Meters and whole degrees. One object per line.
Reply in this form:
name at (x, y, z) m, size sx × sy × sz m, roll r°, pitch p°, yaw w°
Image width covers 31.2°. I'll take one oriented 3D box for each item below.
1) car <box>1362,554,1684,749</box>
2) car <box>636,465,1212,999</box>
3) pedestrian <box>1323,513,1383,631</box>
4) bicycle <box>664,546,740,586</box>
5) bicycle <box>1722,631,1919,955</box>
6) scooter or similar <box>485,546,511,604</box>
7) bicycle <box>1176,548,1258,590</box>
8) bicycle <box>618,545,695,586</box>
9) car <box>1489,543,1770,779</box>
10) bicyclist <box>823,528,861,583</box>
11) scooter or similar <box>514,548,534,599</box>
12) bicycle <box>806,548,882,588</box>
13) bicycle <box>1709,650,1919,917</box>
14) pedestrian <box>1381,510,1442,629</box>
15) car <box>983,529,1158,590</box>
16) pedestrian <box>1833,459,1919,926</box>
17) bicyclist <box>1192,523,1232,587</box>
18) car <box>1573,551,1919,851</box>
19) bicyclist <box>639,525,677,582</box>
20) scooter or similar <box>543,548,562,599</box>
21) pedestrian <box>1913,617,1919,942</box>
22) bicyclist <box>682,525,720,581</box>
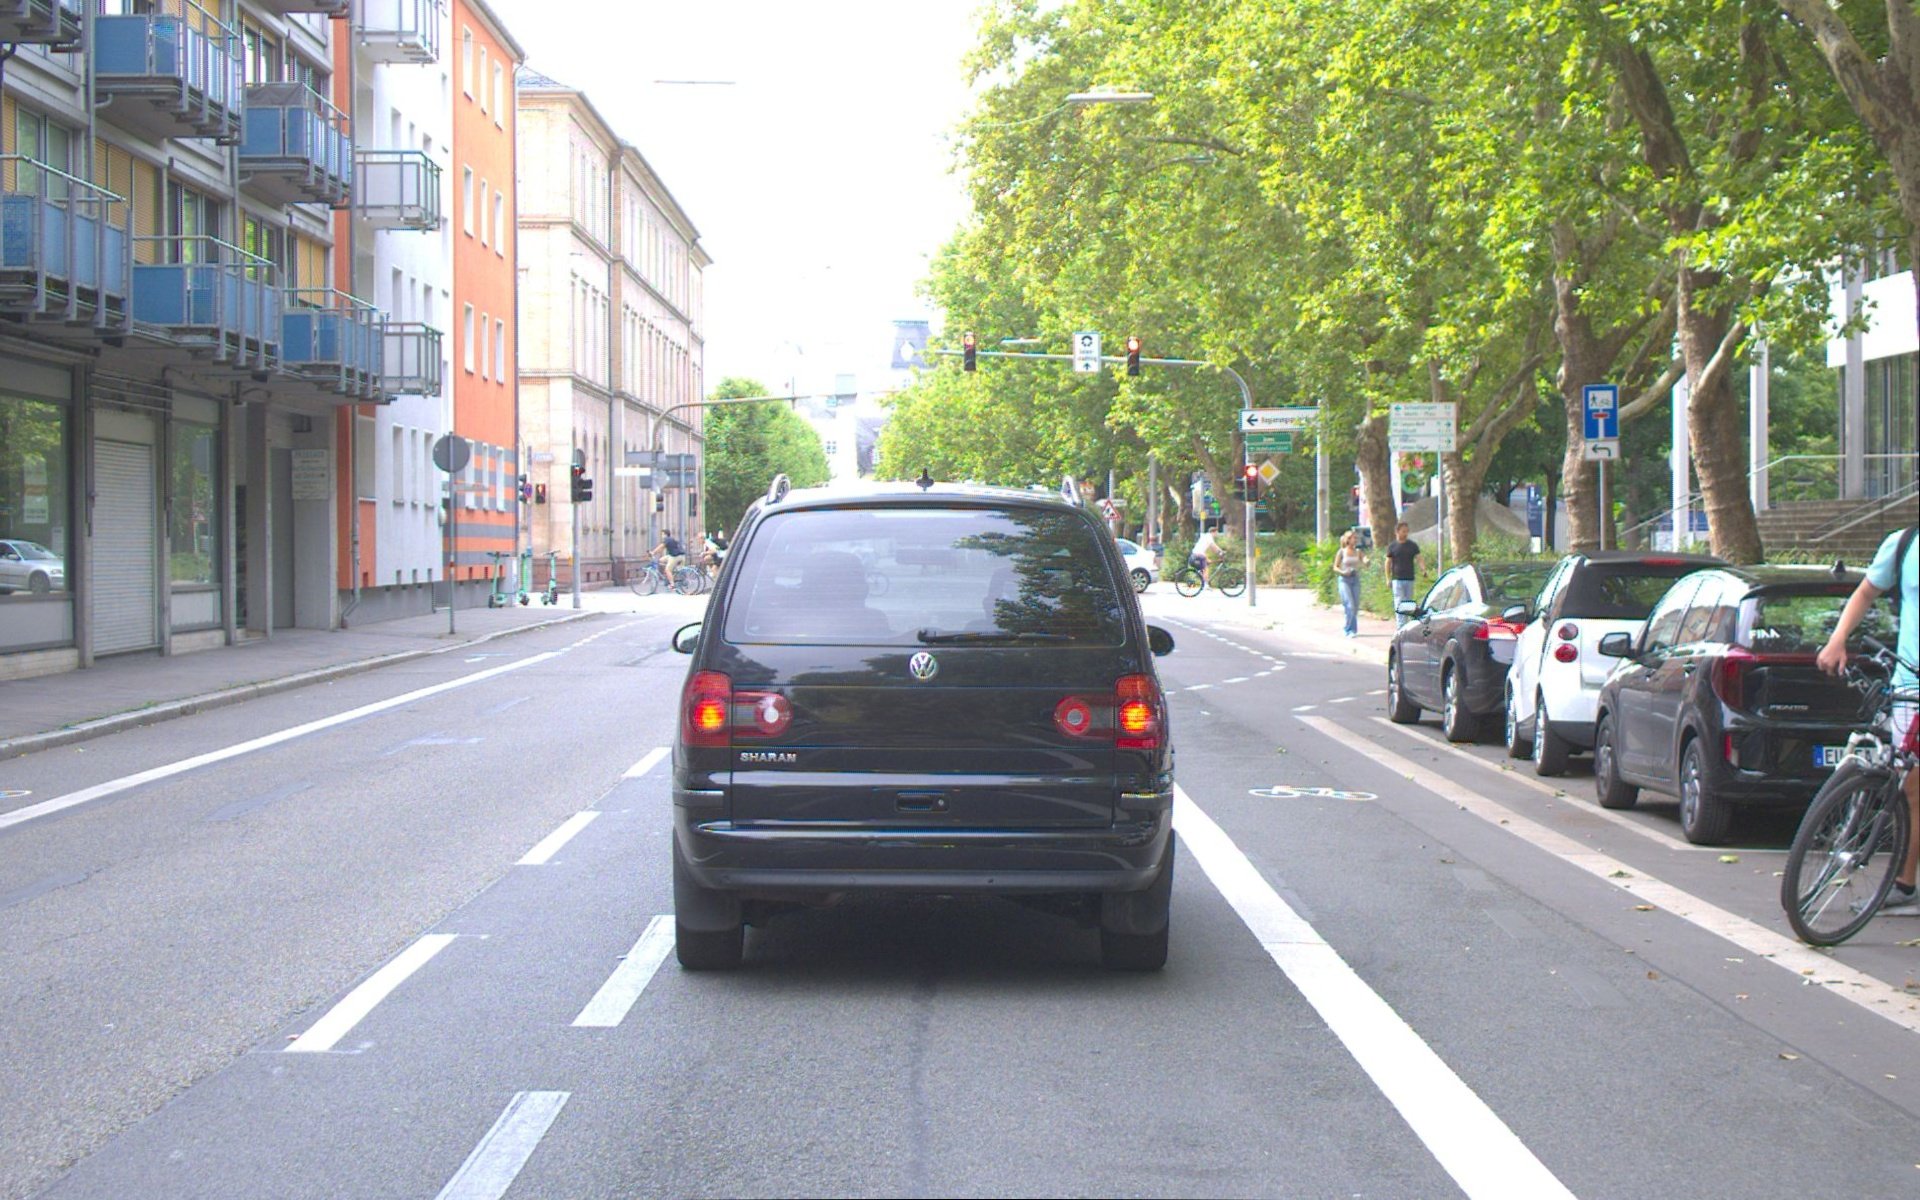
car at (4.554, 0.367, 28.422) m, size 1.697 × 1.420 × 4.423 m, roll 1°, pitch 1°, yaw -3°
car at (-0.183, 0.384, 13.507) m, size 1.874 × 1.739 × 4.574 m, roll 0°, pitch 1°, yaw -2°
pedestrian at (6.030, -0.435, 52.796) m, size 0.710 × 1.777 × 1.034 m, roll -2°, pitch 0°, yaw -1°
bicycle at (-6.814, -0.902, 90.698) m, size 1.924 × 1.025 × 0.583 m, roll 1°, pitch 1°, yaw -10°
bicycle at (3.951, 0.745, 13.549) m, size 1.788 × 1.213 × 0.553 m, roll 1°, pitch 1°, yaw -17°
scooter or similar at (-9.619, -0.520, 71.573) m, size 0.378 × 1.179 × 1.390 m, roll 0°, pitch 0°, yaw 0°
bicycle at (6.385, -0.768, 85.393) m, size 1.924 × 1.025 × 0.583 m, roll 1°, pitch 1°, yaw -8°
bicycle at (-7.852, -0.898, 89.014) m, size 1.924 × 1.025 × 0.583 m, roll 1°, pitch 1°, yaw -10°
car at (4.670, 0.383, 24.260) m, size 1.536 × 1.538 × 2.599 m, roll 2°, pitch 1°, yaw 2°
bicyclist at (-3.173, -1.195, 92.339) m, size 0.914 × 1.461 × 0.570 m, roll 1°, pitch 1°, yaw -12°
scooter or similar at (-9.872, -0.599, 77.853) m, size 0.378 × 1.143 × 1.142 m, roll 0°, pitch -1°, yaw -4°
bicycle at (-3.117, -0.858, 92.358) m, size 1.924 × 1.025 × 0.583 m, roll 1°, pitch 1°, yaw -13°
bicycle at (4.177, 0.789, 14.857) m, size 1.734 × 1.102 × 0.552 m, roll 1°, pitch 1°, yaw -11°
pedestrian at (6.931, -0.468, 52.810) m, size 0.715 × 1.794 × 1.034 m, roll -2°, pitch 0°, yaw -1°
car at (2.818, -1.038, 87.799) m, size 4.085 × 1.422 × 1.763 m, roll -2°, pitch 1°, yaw -26°
pedestrian at (4.109, 0.377, 14.579) m, size 0.474 × 1.928 × 0.745 m, roll 1°, pitch 1°, yaw -11°
bicyclist at (6.251, -1.119, 85.371) m, size 0.855 × 1.562 × 0.577 m, roll 1°, pitch 0°, yaw -8°
car at (4.585, 0.498, 19.455) m, size 1.528 × 1.496 × 3.660 m, roll 1°, pitch 1°, yaw 0°
bicyclist at (-7.813, -1.197, 89.015) m, size 0.914 × 1.461 × 0.570 m, roll 1°, pitch 1°, yaw -10°
scooter or similar at (-9.285, -0.596, 78.396) m, size 0.378 × 1.140 × 1.142 m, roll 0°, pitch -1°, yaw -4°
pedestrian at (4.130, 0.437, 13.285) m, size 0.519 × 1.839 × 0.745 m, roll 1°, pitch 1°, yaw -15°
bicyclist at (-6.830, -1.238, 90.689) m, size 0.914 × 1.461 × 0.570 m, roll 1°, pitch 1°, yaw -10°
